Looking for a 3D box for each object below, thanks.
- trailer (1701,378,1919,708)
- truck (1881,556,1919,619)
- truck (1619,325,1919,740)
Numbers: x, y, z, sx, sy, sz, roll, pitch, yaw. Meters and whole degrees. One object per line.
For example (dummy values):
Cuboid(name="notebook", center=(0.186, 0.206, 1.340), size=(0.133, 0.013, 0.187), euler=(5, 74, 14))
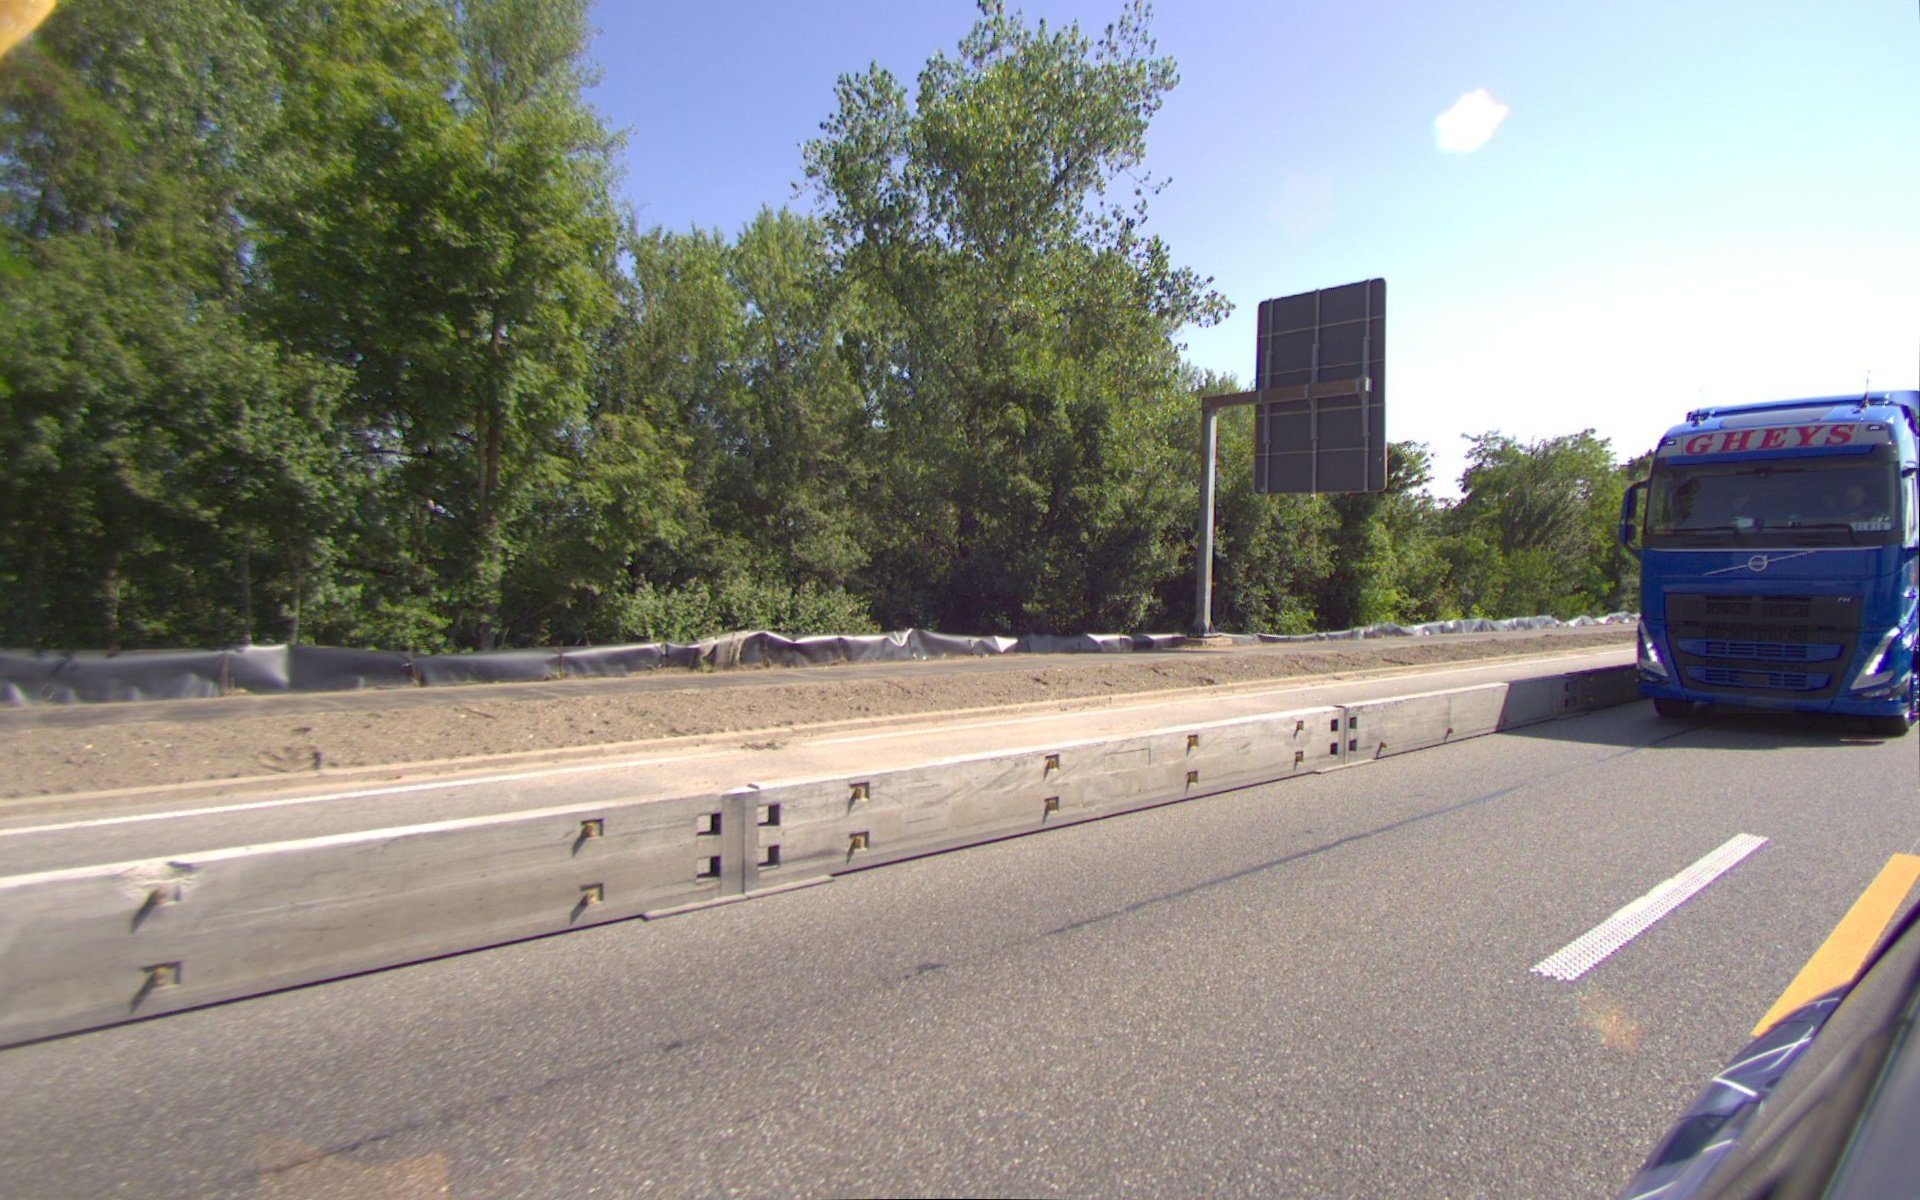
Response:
Cuboid(name="trailer", center=(16.249, -0.749, 17.578), size=(12.395, 4.187, 2.699), euler=(0, 3, -42))
Cuboid(name="truck", center=(65.174, -0.820, 68.924), size=(8.521, 4.033, 2.857), euler=(0, 3, -44))
Cuboid(name="truck", center=(11.530, -0.738, 13.435), size=(7.174, 4.152, 2.699), euler=(0, 3, -42))
